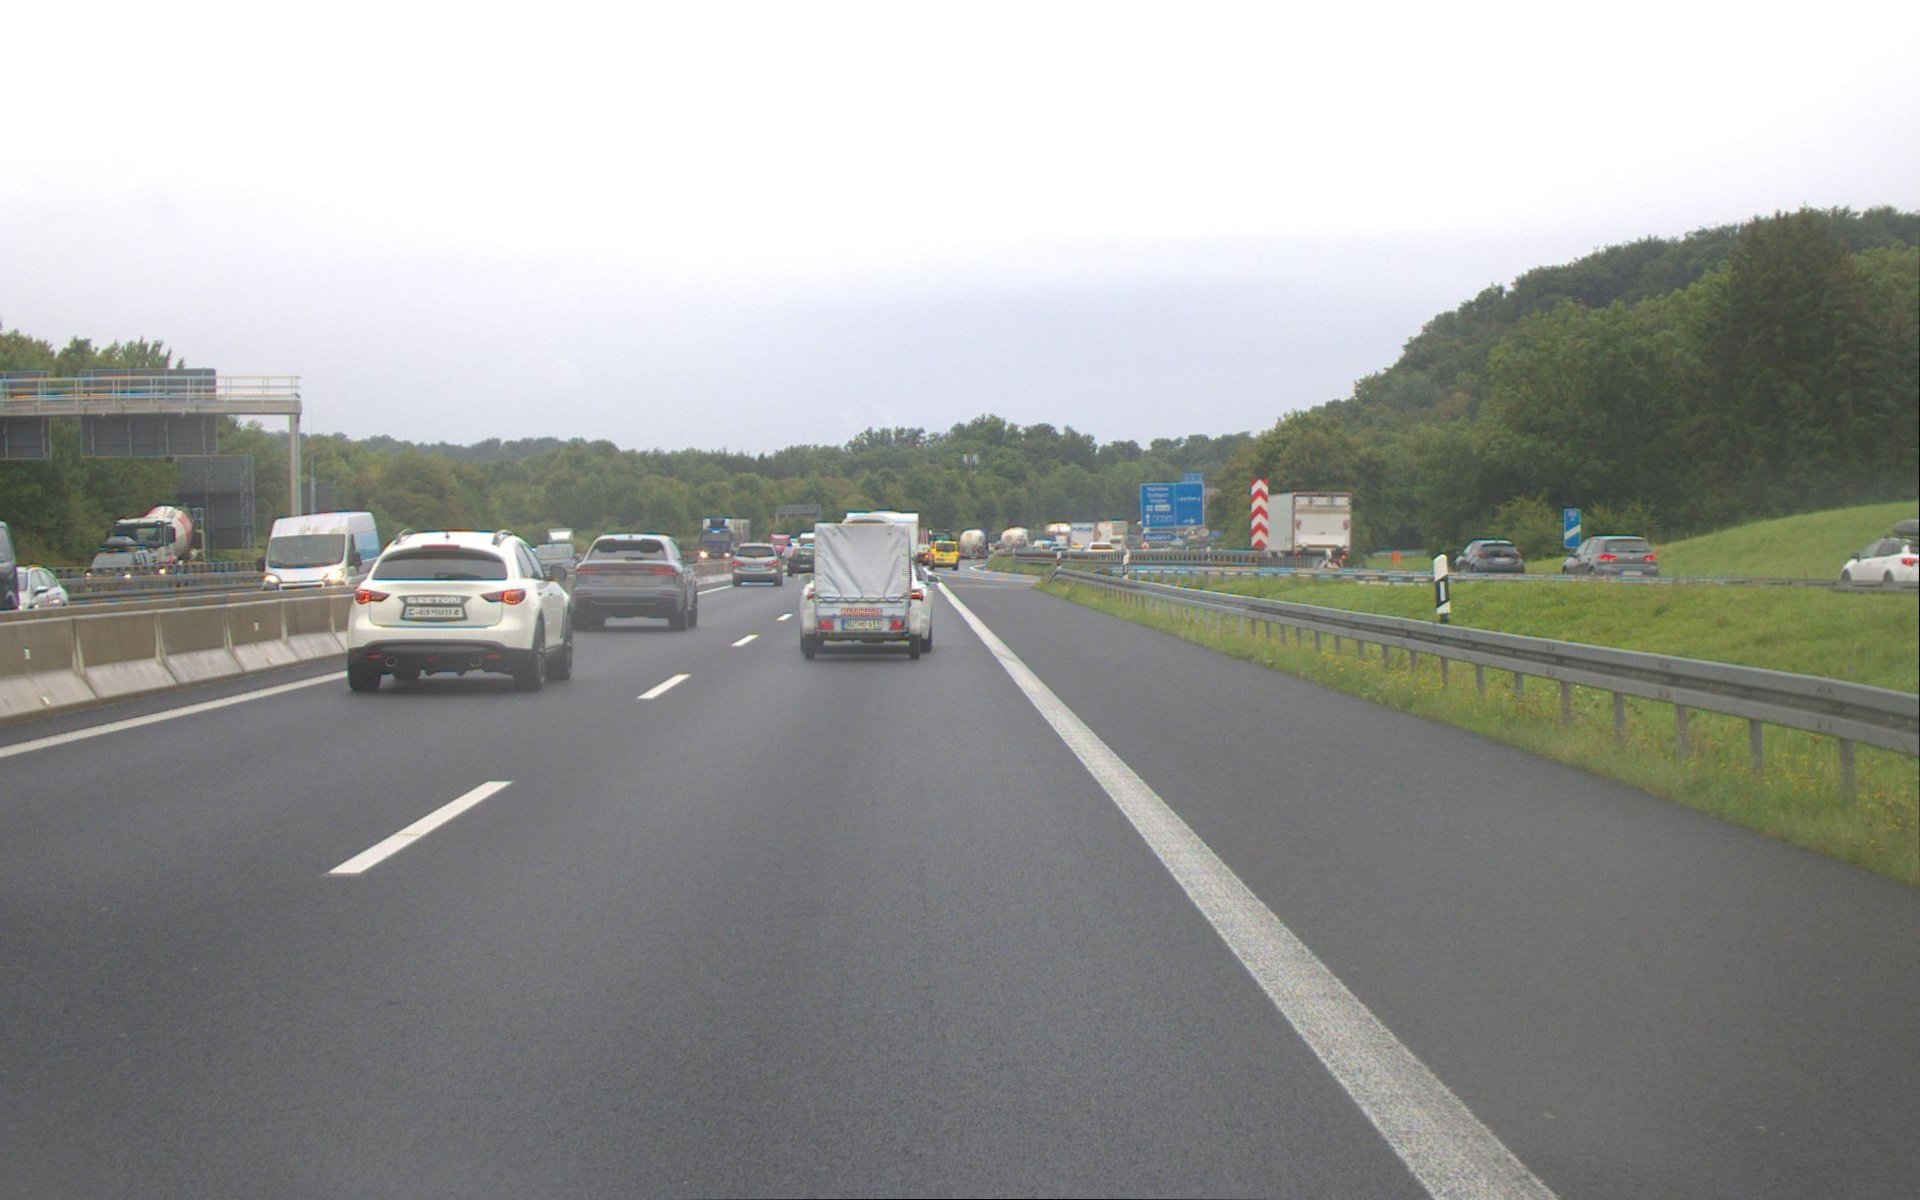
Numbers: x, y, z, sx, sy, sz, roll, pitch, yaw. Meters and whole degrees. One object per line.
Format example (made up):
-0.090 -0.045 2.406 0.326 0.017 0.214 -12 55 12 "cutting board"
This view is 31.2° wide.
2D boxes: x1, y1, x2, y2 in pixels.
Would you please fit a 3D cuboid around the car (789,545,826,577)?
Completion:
-7.470 -1.923 168.951 1.645 1.568 4.000 1 1 -1 "car"

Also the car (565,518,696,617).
-5.872 -0.611 61.805 1.975 1.697 4.803 1 1 -1 "car"

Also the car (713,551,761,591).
-9.571 -1.270 147.696 1.819 1.656 4.017 0 1 -1 "car"

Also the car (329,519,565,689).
-5.335 -0.004 36.298 2.048 1.665 4.542 1 1 -3 "car"

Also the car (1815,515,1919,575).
22.277 -1.297 81.749 1.985 1.372 5.080 -1 1 -9 "car"

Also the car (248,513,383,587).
-15.300 -1.201 81.911 2.357 1.687 5.907 -1 1 -3 "car"

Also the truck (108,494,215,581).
-34.930 -2.731 150.758 2.685 3.648 9.559 -1 1 -2 "truck"

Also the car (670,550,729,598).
-9.262 -0.943 122.262 1.819 1.656 4.017 0 1 -1 "car"

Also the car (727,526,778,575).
-7.676 -1.841 127.473 1.738 1.787 4.000 1 1 -1 "car"

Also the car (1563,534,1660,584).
17.320 -1.084 91.534 1.539 1.284 3.536 1 1 -7 "car"

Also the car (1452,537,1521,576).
18.341 -1.515 119.866 1.697 1.284 3.535 1 1 -3 "car"

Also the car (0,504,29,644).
-13.571 -0.341 44.361 1.993 1.830 4.680 1 1 -2 "car"

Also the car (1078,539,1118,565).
8.379 -2.911 209.528 1.993 1.546 4.001 1 1 -4 "car"

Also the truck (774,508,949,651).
-1.366 -0.322 47.581 2.242 1.833 6.585 0 1 -2 "truck"

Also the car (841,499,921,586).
-2.597 -1.855 111.497 2.331 2.716 6.541 0 1 -3 "car"

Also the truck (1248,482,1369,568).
15.401 -3.298 152.571 3.824 3.646 8.273 1 1 -5 "truck"

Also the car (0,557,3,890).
-5.094 0.575 12.639 1.787 1.454 4.802 0 1 0 "car"

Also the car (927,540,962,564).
-1.060 -3.320 237.434 1.993 1.546 4.001 1 1 -6 "car"
